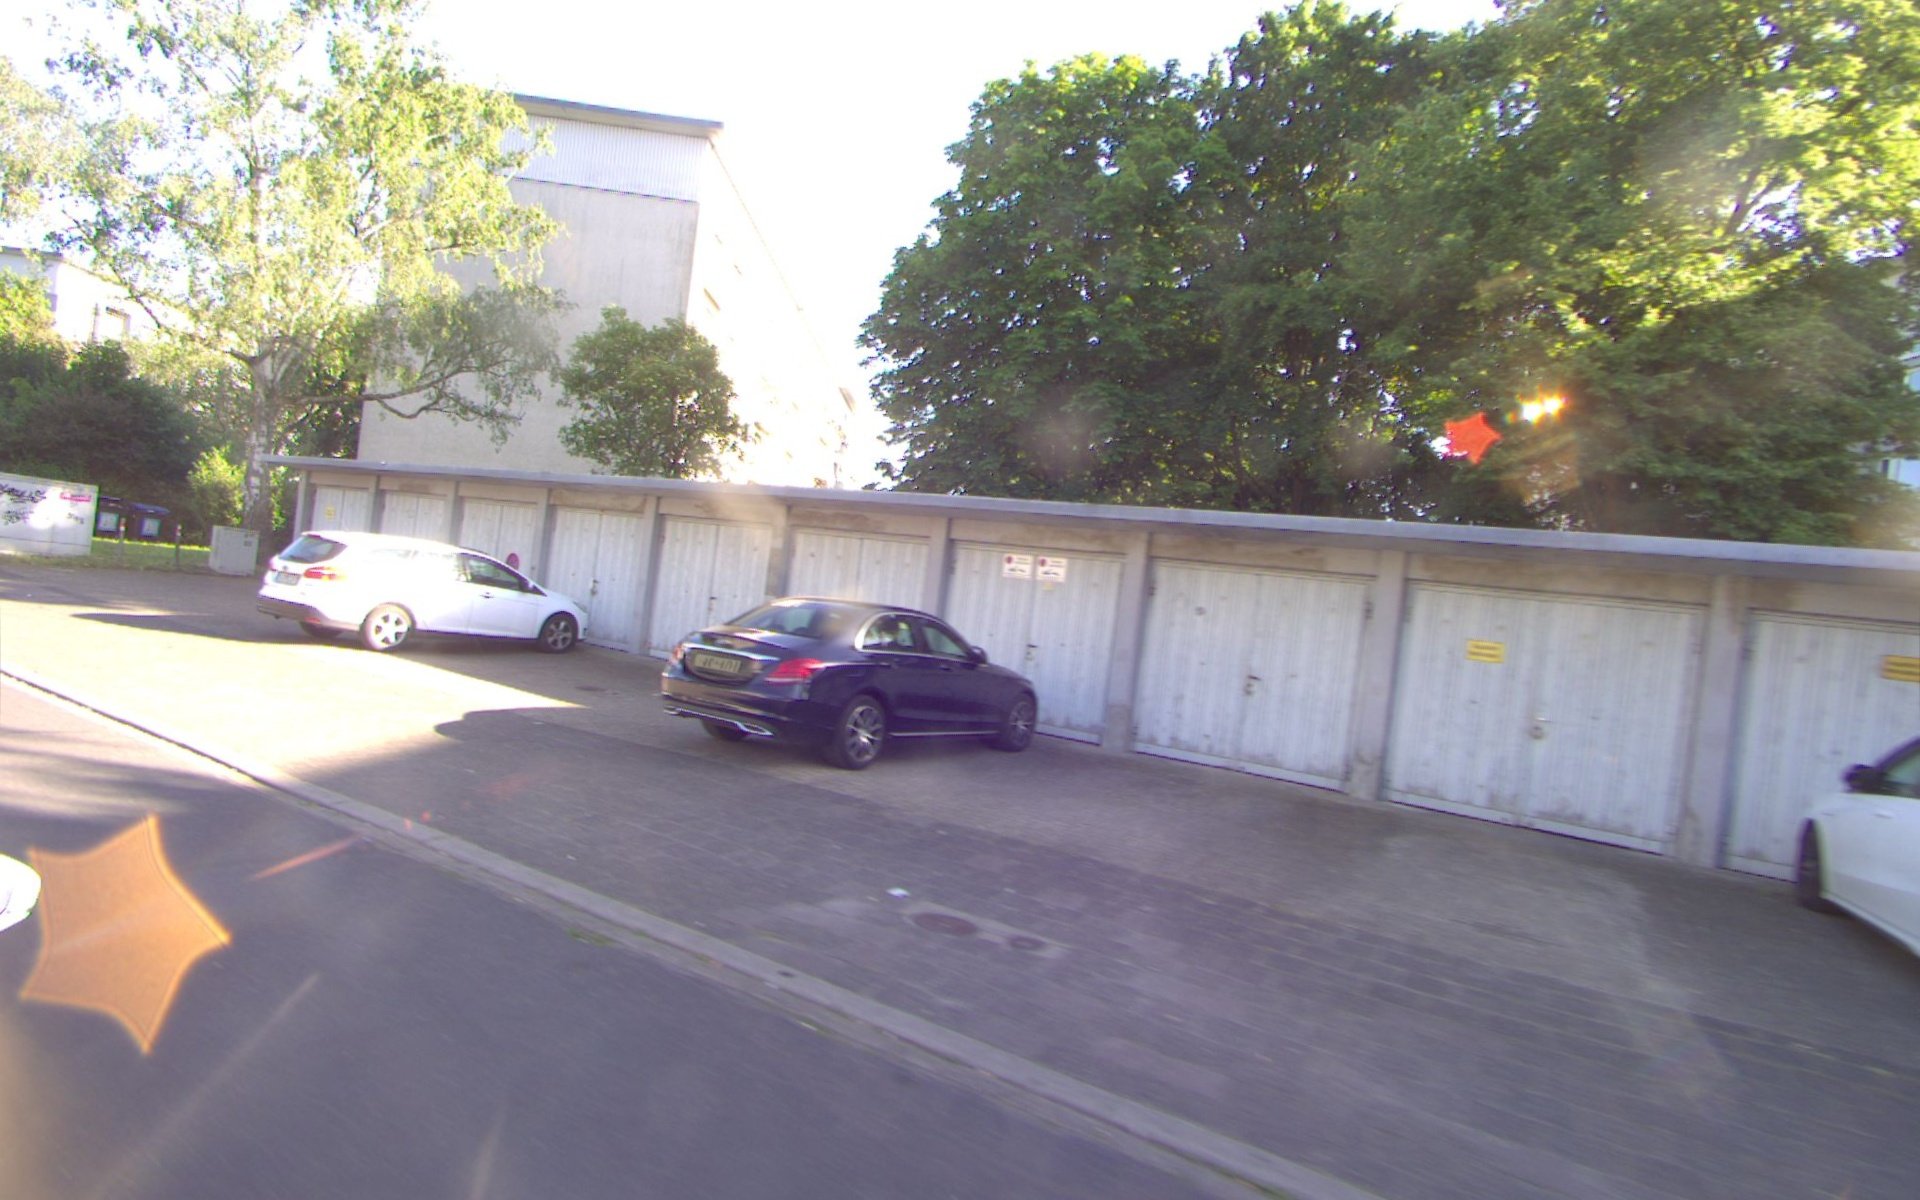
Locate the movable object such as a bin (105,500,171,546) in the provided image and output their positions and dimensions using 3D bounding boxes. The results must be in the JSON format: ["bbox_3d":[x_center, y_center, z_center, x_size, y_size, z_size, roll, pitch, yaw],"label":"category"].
[{"bbox_3d":[-29.424,-2.739,36.021,1.255,1.369,1.259,7,-1,21],"label":"movable object such as a bin"}]

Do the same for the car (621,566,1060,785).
[{"bbox_3d":[-0.888,0.715,10.063,1.799,1.532,4.517,7,0,32],"label":"car"}]

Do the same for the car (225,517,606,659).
[{"bbox_3d":[-7.560,-0.070,14.456,1.798,1.532,4.420,7,0,32],"label":"car"}]

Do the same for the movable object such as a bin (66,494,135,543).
[{"bbox_3d":[-29.501,-2.788,34.526,1.255,1.369,1.259,7,-1,23],"label":"movable object such as a bin"}]

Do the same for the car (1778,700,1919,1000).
[{"bbox_3d":[6.489,1.533,5.860,1.797,1.532,3.949,7,0,28],"label":"car"}]

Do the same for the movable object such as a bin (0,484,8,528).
[{"bbox_3d":[-31.266,-3.088,31.848,1.257,1.369,1.257,7,-1,31],"label":"movable object such as a bin"}]
